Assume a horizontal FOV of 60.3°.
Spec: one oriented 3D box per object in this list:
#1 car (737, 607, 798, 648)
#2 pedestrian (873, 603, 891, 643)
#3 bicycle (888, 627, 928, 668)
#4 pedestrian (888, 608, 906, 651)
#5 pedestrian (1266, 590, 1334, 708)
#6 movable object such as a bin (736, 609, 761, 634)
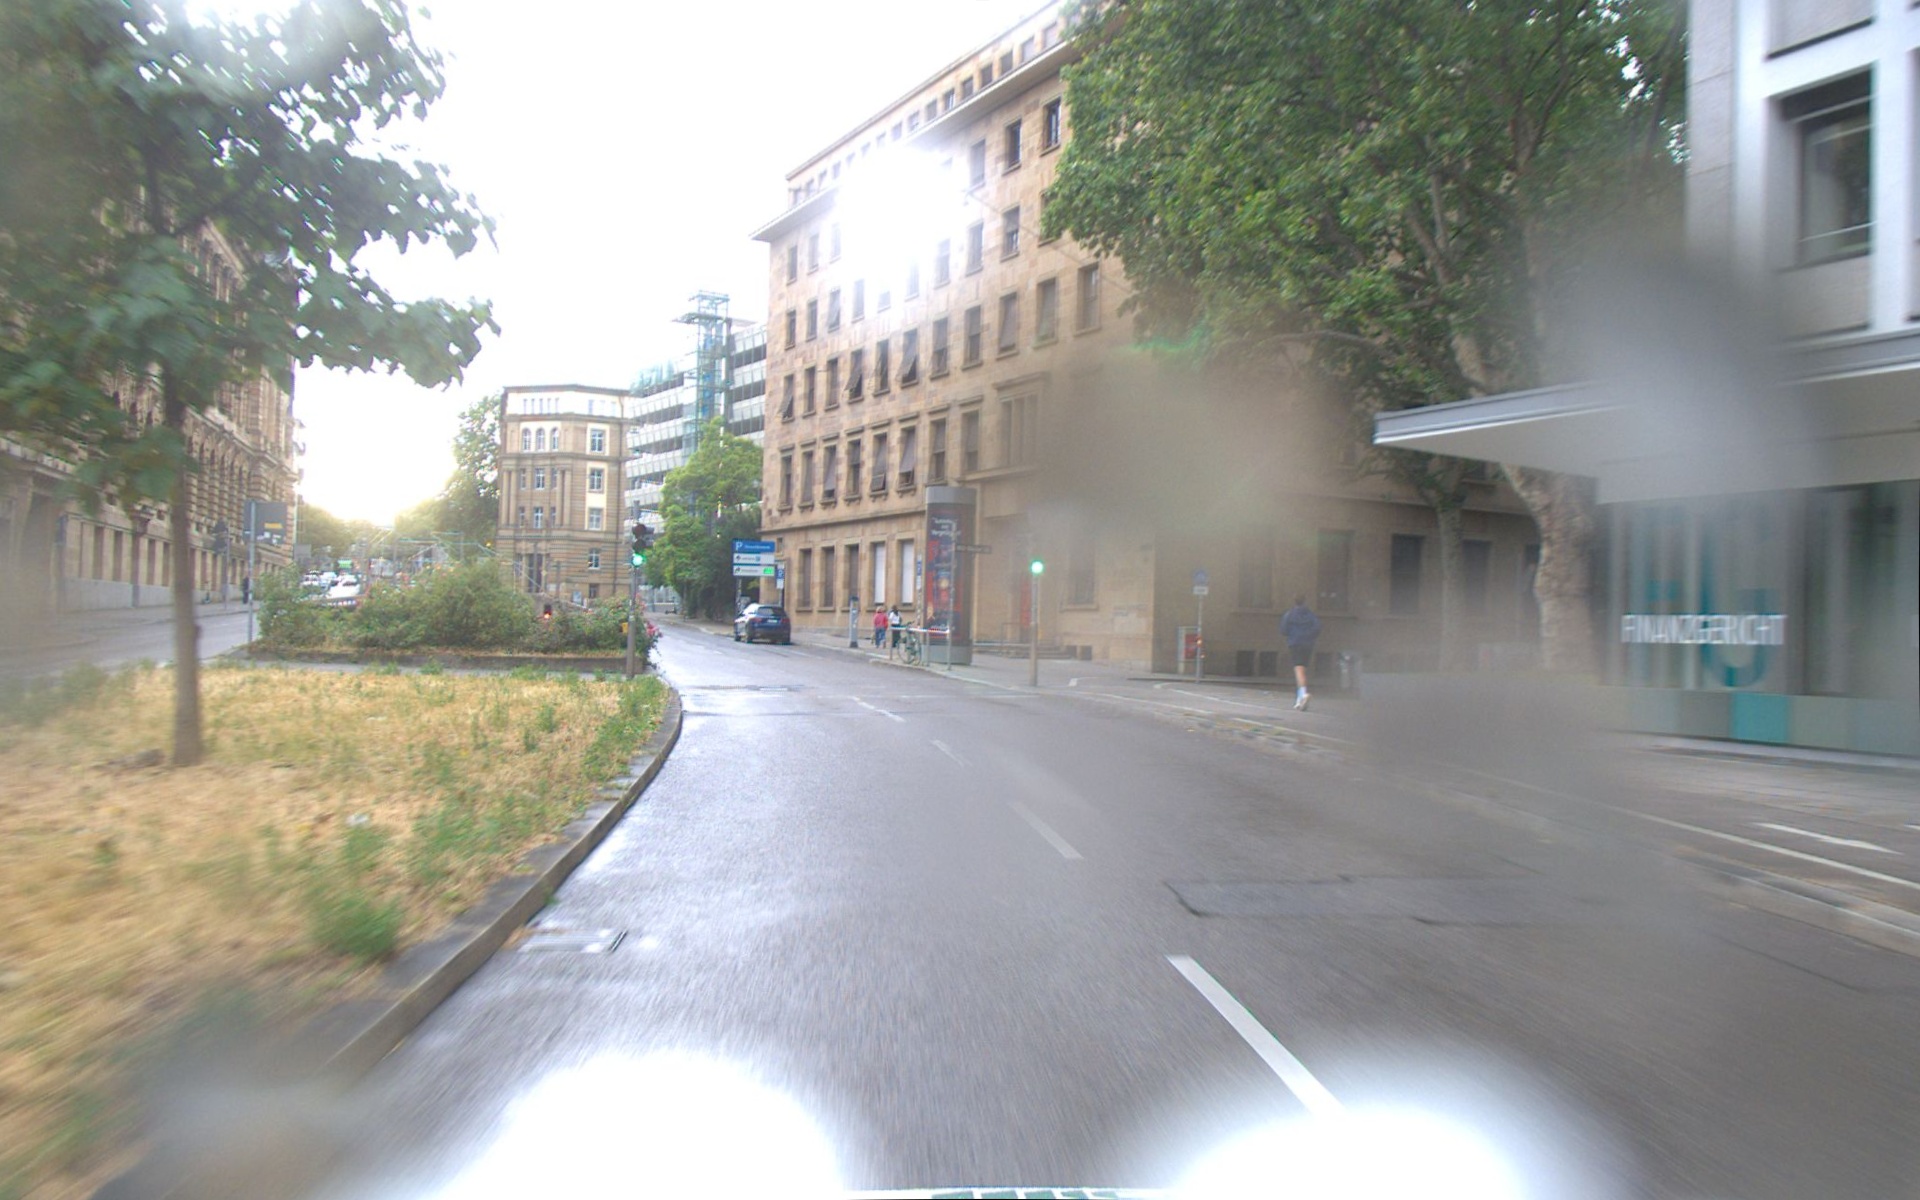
[{"bbox_3d":[-8.217,1.161,70.292,1.741,1.648,4.136,2,-1,-18],"label":"car"},{"bbox_3d":[-3.003,0.878,63.519,0.515,1.518,0.671,2,-1,-14],"label":"pedestrian"},{"bbox_3d":[-1.373,1.238,43.425,0.481,1.030,1.918,2,-1,-18],"label":"bicycle"},{"bbox_3d":[-2.433,1.123,63.816,0.515,1.631,0.671,2,-1,-13],"label":"pedestrian"},{"bbox_3d":[5.313,0.754,25.877,0.764,1.803,0.861,2,-1,-7],"label":"pedestrian"},{"bbox_3d":[-11.361,1.146,88.875,1.219,1.333,1.229,0,0,-15],"label":"movable object such as a bin"}]
